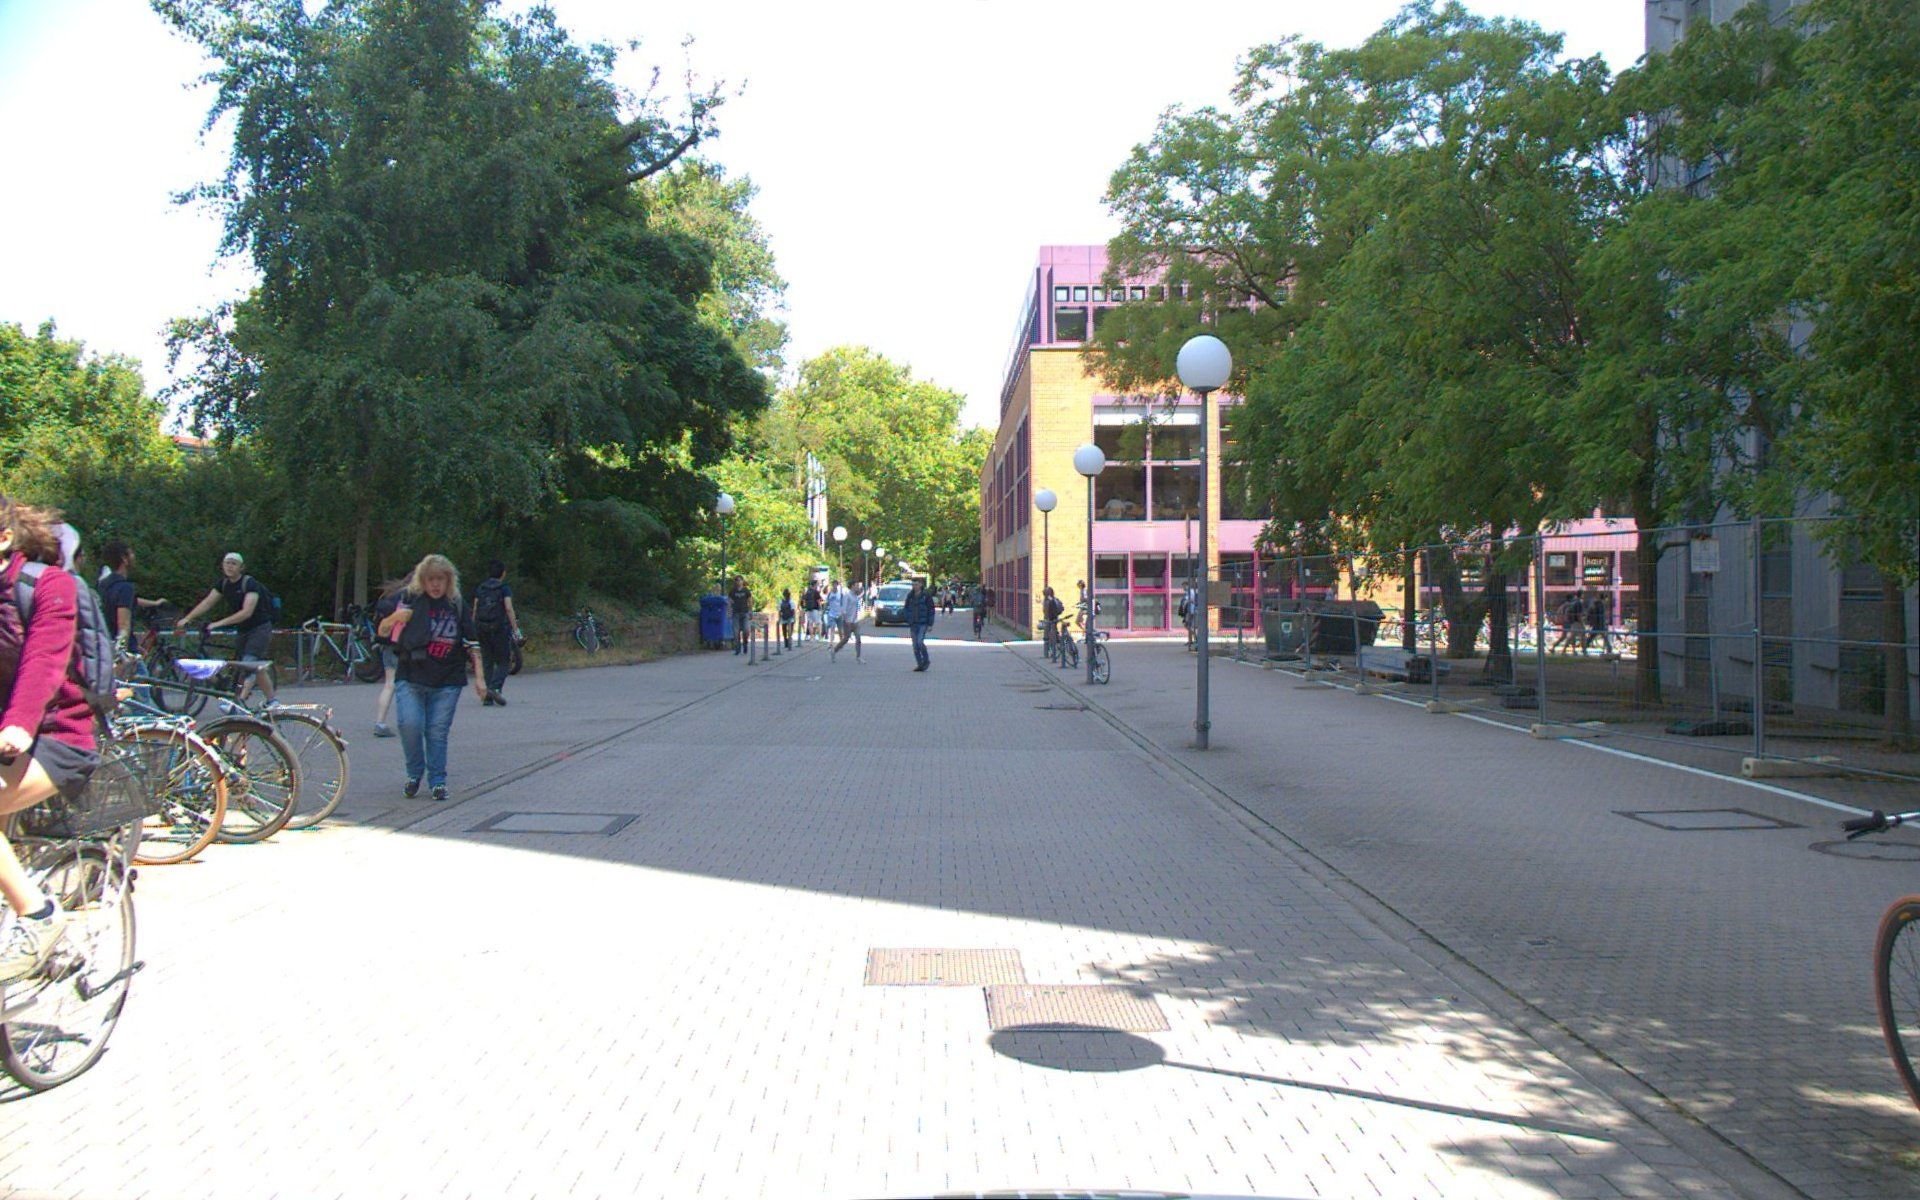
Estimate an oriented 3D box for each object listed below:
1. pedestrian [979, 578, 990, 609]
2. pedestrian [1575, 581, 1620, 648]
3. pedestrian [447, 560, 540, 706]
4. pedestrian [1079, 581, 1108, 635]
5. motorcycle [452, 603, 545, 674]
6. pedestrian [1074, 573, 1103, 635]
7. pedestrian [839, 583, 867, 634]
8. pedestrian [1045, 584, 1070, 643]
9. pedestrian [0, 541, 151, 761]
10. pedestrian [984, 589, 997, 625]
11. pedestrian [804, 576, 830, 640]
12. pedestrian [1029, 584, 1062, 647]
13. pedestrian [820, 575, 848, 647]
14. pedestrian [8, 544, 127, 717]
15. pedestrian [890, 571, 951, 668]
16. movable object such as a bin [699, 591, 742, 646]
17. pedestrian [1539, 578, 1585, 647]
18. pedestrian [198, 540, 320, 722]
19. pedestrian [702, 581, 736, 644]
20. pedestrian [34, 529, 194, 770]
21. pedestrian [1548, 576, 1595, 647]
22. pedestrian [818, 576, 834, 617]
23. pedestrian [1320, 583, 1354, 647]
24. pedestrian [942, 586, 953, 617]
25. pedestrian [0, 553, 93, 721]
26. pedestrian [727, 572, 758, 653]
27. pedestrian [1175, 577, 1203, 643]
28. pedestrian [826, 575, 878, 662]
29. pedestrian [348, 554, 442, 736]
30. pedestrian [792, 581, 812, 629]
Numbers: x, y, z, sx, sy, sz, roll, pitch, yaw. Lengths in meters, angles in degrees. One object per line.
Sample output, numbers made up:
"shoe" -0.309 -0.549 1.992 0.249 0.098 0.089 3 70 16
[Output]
"pedestrian" 1.361 -0.349 91.899 0.574 1.702 0.817 -1 -1 0
"pedestrian" 17.096 0.396 44.363 0.884 1.759 0.684 0 -2 -6
"pedestrian" -5.805 0.399 20.610 0.670 1.754 0.904 1 0 23
"pedestrian" 4.063 0.244 50.377 0.765 1.649 0.684 1 -1 -3
"motorcycle" -7.692 0.625 27.521 1.990 1.065 0.471 2 1 42
"pedestrian" 3.970 0.130 51.132 0.809 1.876 0.684 1 -1 -3
"pedestrian" -3.383 0.286 52.262 0.727 1.569 0.886 2 -1 -13
"pedestrian" 2.825 0.396 47.934 0.682 1.702 0.588 -1 -1 6
"pedestrian" -7.489 0.394 13.845 0.704 1.754 1.062 0 1 31
"pedestrian" 1.413 0.326 77.549 0.574 1.702 0.699 -1 -1 0
"pedestrian" -4.260 0.249 49.342 0.668 1.876 0.783 1 -1 -1
"pedestrian" 2.310 0.422 44.569 0.834 1.680 0.588 1 -1 6
"pedestrian" -3.397 0.300 44.554 0.710 1.914 1.081 1 -1 -6
"pedestrian" -9.345 0.299 17.329 0.666 1.754 0.931 0 1 44
"pedestrian" -0.792 0.386 33.319 0.867 1.890 1.032 1 0 22
"movable object such as a bin" -6.188 0.464 42.785 0.694 1.359 1.240 3 0 9
"pedestrian" 15.584 0.332 42.799 0.884 1.759 0.684 0 -2 -6
"pedestrian" -7.446 0.319 17.605 0.601 1.867 1.048 0 0 29
"pedestrian" -6.903 0.352 47.353 0.674 1.758 0.993 1 0 -27
"pedestrian" -6.848 0.372 13.412 0.672 1.867 0.938 0 1 33
"pedestrian" 15.511 0.296 41.988 0.884 1.759 0.684 0 -2 -6
"pedestrian" -6.260 -0.164 77.323 0.668 1.876 0.783 1 -1 -1
"pedestrian" 10.530 0.420 46.220 0.882 1.759 0.685 -1 -2 10
"pedestrian" -0.677 0.069 90.782 0.574 1.702 0.817 -1 -1 0
"pedestrian" -9.853 0.382 17.707 0.669 1.754 0.732 0 1 15
"pedestrian" -5.206 0.310 39.711 0.669 1.905 1.120 1 -1 -5
"pedestrian" 6.466 0.287 46.745 0.750 1.826 0.588 -1 -1 6
"pedestrian" -2.400 0.402 36.676 0.773 1.877 1.109 1 0 -25
"pedestrian" -5.591 0.433 16.392 0.670 1.754 0.731 1 0 -3
"pedestrian" -5.579 0.172 58.317 0.669 1.649 0.977 1 -1 -5
